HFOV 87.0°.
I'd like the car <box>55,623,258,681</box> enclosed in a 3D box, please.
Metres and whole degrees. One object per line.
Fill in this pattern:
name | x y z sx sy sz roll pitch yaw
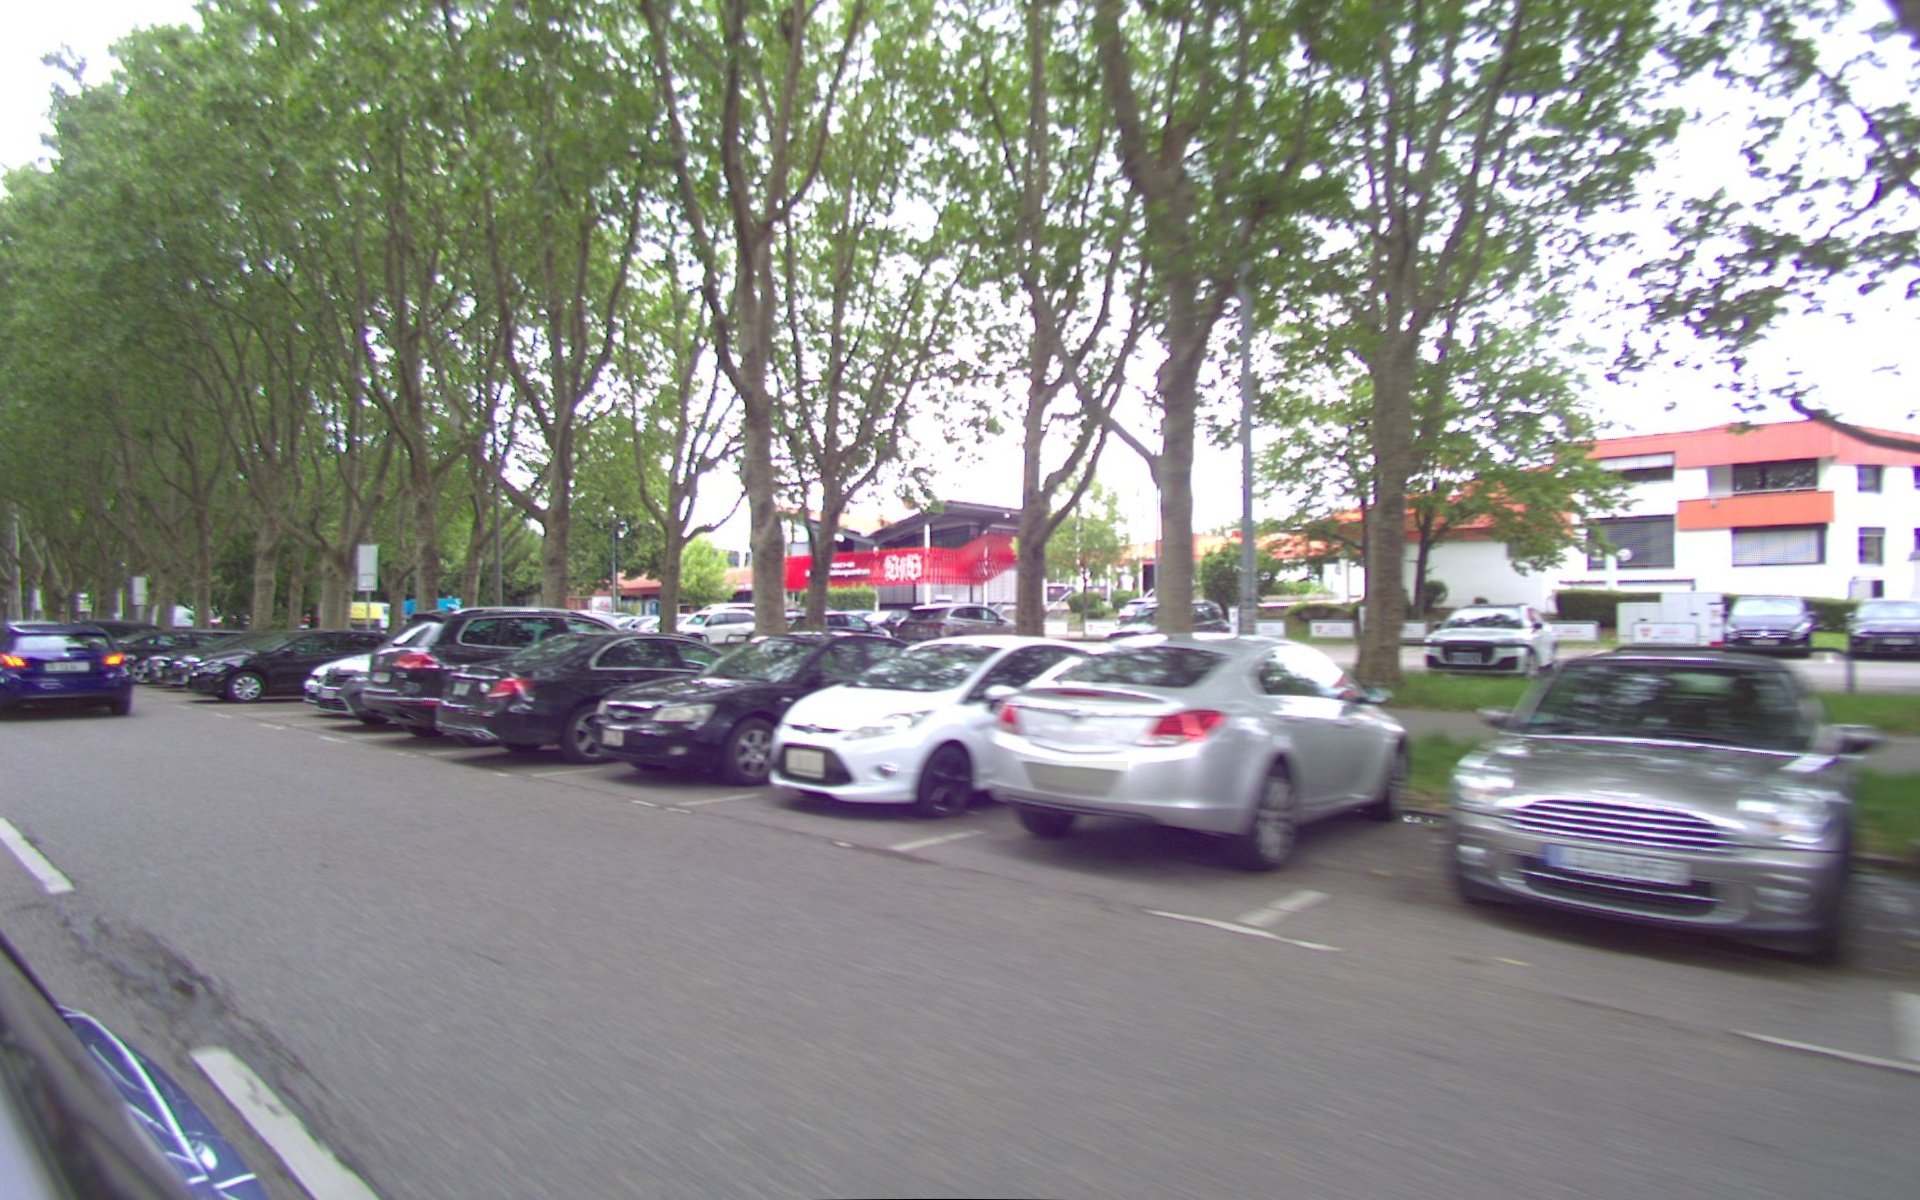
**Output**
car | -21.025 1.337 26.614 1.701 1.409 3.891 -2 -3 39

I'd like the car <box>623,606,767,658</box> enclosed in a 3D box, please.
car | -9.816 1.141 37.848 2.180 1.810 4.894 -2 -1 38

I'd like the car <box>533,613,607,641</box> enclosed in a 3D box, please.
car | -24.688 1.685 64.131 1.996 1.638 3.951 -1 0 36

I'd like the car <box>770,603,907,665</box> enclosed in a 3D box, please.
car | -3.954 1.068 33.424 2.027 1.875 4.277 -1 0 40

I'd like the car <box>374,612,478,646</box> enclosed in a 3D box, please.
car | -28.707 1.574 54.523 1.998 1.734 4.508 -1 -3 38

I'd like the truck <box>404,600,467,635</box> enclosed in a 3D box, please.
truck | -42.682 1.383 82.365 2.375 2.737 3.947 -1 0 40

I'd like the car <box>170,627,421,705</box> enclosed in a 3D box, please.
car | -13.375 1.310 20.532 1.756 1.432 3.934 -2 -4 44

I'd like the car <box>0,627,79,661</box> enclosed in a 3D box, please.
car | -44.939 2.110 48.477 1.855 1.464 3.945 -1 0 42

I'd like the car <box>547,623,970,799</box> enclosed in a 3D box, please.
car | -1.939 0.987 10.781 1.965 1.364 4.148 -1 0 39

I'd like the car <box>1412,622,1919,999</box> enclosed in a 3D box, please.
car | 4.234 0.926 5.938 1.861 1.416 3.945 -1 -4 41

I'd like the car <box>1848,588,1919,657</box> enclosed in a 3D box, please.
car | 22.779 0.490 24.373 1.957 1.560 4.277 -1 0 40

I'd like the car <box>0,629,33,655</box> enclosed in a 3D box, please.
car | -53.041 2.250 54.509 1.774 1.435 4.363 -2 -3 39

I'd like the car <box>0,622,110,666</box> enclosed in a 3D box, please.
car | -39.499 1.868 43.772 1.855 1.695 3.945 -1 0 42

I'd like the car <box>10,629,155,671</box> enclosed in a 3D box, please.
car | -33.615 1.885 38.844 1.842 1.379 3.947 -1 0 39

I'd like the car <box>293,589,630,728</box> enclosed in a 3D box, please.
car | -7.506 0.874 15.629 1.864 1.824 4.277 -2 -3 37

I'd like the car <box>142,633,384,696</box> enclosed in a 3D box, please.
car | -16.440 1.483 24.062 1.901 1.358 4.415 -2 -3 42

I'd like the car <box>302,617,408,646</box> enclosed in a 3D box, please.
car | -37.440 1.942 62.753 2.093 1.608 5.295 -1 0 39

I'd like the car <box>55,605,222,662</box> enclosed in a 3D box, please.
car | -26.381 1.088 32.599 1.750 1.721 3.891 -2 -3 39

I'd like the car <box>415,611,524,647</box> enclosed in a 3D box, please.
car | -24.712 1.516 51.144 1.998 1.734 4.508 -1 -3 38

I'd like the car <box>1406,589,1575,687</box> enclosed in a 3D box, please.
car | 10.668 0.669 20.198 2.130 1.722 4.277 -1 0 40

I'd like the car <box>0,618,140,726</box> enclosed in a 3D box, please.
car | -14.910 1.070 16.372 4.011 1.521 1.824 -1 0 40

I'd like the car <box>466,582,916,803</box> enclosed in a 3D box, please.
car | -2.598 0.866 10.645 1.866 1.824 4.272 -2 -3 41

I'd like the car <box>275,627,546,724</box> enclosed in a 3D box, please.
car | -9.382 1.244 17.572 1.758 1.483 3.755 -1 -3 30

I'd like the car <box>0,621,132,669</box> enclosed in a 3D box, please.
car | -35.859 1.756 40.514 1.855 1.695 3.945 -1 0 42

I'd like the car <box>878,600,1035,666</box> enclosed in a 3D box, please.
car | -0.032 0.912 29.921 2.295 1.738 4.506 -1 0 40

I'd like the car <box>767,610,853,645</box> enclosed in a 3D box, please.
car | -7.445 1.335 50.508 1.997 1.637 3.950 -1 0 37

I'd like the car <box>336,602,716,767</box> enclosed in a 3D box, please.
car | -5.680 0.961 13.661 2.035 1.808 4.273 -1 0 41

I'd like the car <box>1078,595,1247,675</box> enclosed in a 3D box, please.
car | 5.145 0.794 25.282 2.295 1.775 4.473 -1 0 40

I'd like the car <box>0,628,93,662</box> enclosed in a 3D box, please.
car | -43.104 2.082 47.145 1.855 1.464 3.945 -1 0 42

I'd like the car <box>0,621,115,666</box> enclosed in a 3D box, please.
car | -37.799 1.785 42.034 1.855 1.695 3.945 -1 0 42

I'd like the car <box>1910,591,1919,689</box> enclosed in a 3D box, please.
car | 15.824 0.638 15.030 2.202 1.560 4.277 -1 0 40

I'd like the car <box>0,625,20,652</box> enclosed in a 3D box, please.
car | -58.140 2.249 59.182 2.044 1.639 4.365 -2 -3 38

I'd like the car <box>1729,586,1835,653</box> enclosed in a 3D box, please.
car | 21.078 0.445 25.958 1.957 1.560 4.277 -1 0 40

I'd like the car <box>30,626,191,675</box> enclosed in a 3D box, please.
car | -28.264 1.672 33.765 1.728 1.528 3.888 -2 -3 42

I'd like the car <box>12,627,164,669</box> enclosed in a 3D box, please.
car | -31.746 1.734 36.918 1.701 1.431 3.953 -2 -3 39

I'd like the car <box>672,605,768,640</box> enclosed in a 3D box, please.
car | -13.195 1.214 55.831 2.180 1.810 4.894 -1 0 38

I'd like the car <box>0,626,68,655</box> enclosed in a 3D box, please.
car | -48.772 2.093 51.735 2.043 1.455 4.368 -2 -3 36

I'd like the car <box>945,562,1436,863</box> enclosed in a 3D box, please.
car | 1.975 0.699 7.520 1.906 1.560 4.221 -1 -3 39

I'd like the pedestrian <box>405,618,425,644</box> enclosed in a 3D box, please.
pedestrian | -37.561 2.135 69.752 0.917 1.814 0.932 -1 -2 41

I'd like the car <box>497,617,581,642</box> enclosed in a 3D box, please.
car | -28.600 1.989 68.887 2.181 1.532 4.892 -1 0 39

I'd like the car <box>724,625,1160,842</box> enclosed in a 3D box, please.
car | 0.030 0.991 9.270 1.884 1.415 3.947 -1 0 40

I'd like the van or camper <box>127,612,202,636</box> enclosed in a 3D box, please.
van or camper | -75.447 2.288 95.994 2.242 2.115 5.234 -1 0 38

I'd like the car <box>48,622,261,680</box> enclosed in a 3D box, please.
car | -22.586 1.420 28.542 1.701 1.493 4.418 -2 -3 39

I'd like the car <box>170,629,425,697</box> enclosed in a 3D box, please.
car | -14.725 1.361 22.698 1.878 1.380 4.417 -2 -3 40

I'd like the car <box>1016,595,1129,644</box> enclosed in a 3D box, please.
car | 4.723 0.774 42.048 4.525 1.869 2.298 -1 0 -44

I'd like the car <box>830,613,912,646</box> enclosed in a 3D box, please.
car | -4.116 1.342 47.213 1.505 1.382 3.948 -1 0 39

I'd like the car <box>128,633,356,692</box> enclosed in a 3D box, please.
car | -18.236 1.578 25.885 1.858 1.377 4.418 -2 -4 39

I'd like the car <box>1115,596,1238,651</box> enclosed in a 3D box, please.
car | 8.020 0.798 37.290 4.525 1.869 2.298 -1 0 -44

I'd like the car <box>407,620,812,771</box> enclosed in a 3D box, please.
car | -4.015 1.062 12.080 2.013 1.463 4.084 -2 -4 43
